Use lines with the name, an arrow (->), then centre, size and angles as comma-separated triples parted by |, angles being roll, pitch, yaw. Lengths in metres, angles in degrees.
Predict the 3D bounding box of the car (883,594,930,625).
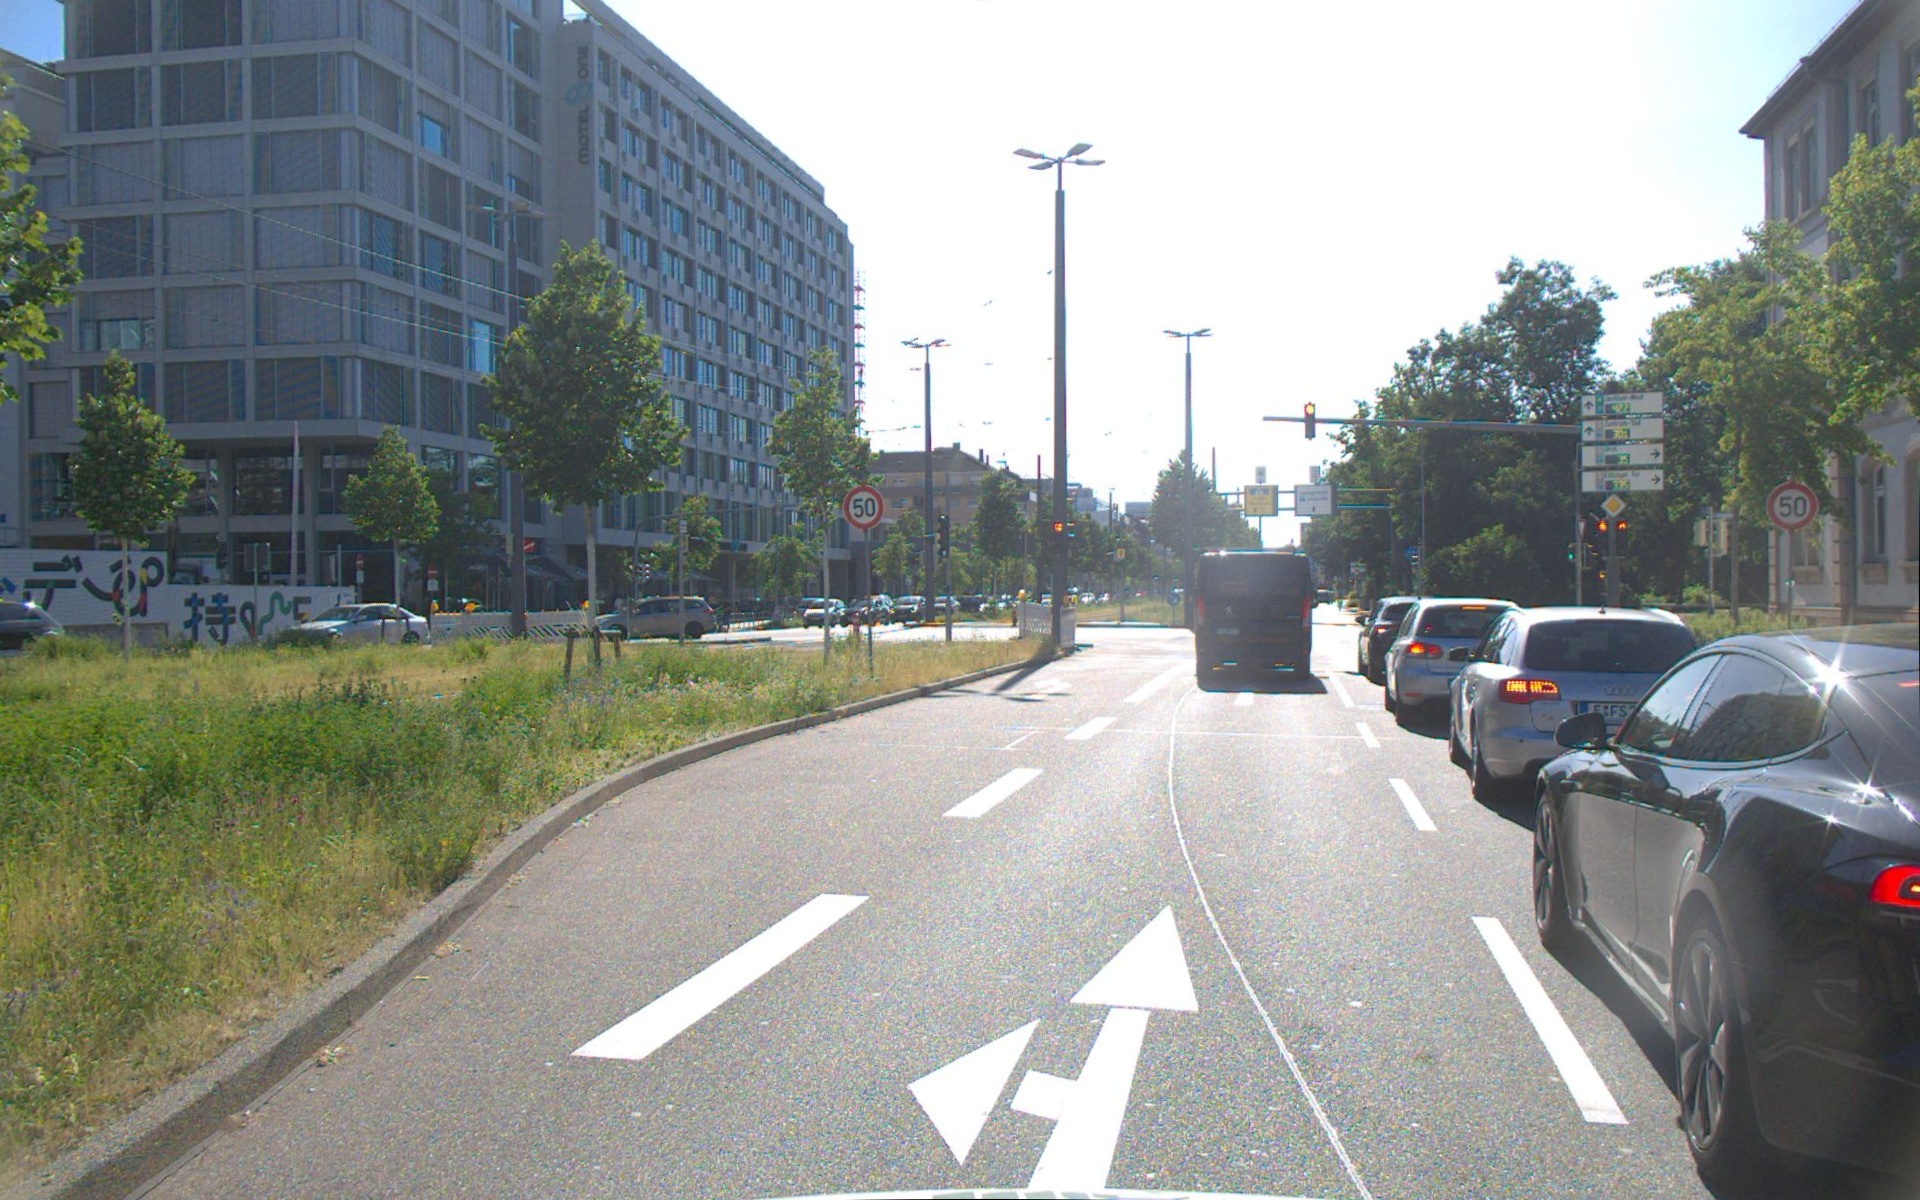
car -> -2.994, 0.517, 93.185 | 1.752, 1.680, 4.003 | -1, 0, 12

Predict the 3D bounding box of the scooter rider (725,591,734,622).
scooter rider -> -11.286, 0.320, 80.994 | 0.335, 1.478, 0.239 | -1, 0, 12

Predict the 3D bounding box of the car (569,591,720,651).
car -> -10.255, 0.649, 53.807 | 4.464, 1.824, 1.980 | -1, 0, -30

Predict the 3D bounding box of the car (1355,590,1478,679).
car -> 8.115, 0.570, 29.679 | 1.753, 1.453, 3.853 | 1, 0, 10

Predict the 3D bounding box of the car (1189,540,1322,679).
car -> 5.404, 0.123, 30.239 | 2.170, 2.307, 4.488 | 1, 1, 10

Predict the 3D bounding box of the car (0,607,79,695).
car -> -21.260, 1.100, 34.898 | 1.953, 1.824, 4.526 | 0, 0, 22

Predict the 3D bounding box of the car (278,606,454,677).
car -> -16.446, 1.100, 46.032 | 1.955, 1.824, 4.521 | 0, 0, 27

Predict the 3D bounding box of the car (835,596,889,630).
car -> -5.021, 0.668, 85.313 | 1.752, 1.680, 4.003 | -1, 0, 12

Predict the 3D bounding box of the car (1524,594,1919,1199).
car -> 3.181, 0.750, 5.272 | 2.007, 1.469, 4.528 | 1, 1, 11

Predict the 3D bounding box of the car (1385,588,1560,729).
car -> 6.284, 0.639, 20.630 | 1.712, 1.554, 4.008 | 1, 1, 12

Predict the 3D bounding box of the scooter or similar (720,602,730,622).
scooter or similar -> -11.502, 0.588, 80.993 | 0.223, 0.964, 0.768 | -1, 0, 12

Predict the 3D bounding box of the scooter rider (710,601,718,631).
scooter rider -> -12.098, 0.803, 81.372 | 0.335, 1.478, 0.239 | -1, 0, 12

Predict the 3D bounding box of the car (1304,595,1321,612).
car -> 40.324, 0.352, 189.254 | 1.753, 1.906, 3.853 | 1, 0, 10

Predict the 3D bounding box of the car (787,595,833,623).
car -> -9.312, 0.571, 102.873 | 1.752, 1.680, 4.003 | -1, 0, 12

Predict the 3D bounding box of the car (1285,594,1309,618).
car -> 27.434, 0.460, 134.616 | 1.753, 1.906, 3.853 | 1, 0, 10

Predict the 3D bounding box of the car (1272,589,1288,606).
car -> 37.634, -0.320, 194.788 | 1.753, 1.906, 3.853 | 1, 0, 10

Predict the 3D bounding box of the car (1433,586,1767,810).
car -> 4.949, 0.624, 13.446 | 1.710, 1.452, 4.842 | 1, 1, 11

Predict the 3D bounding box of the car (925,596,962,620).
car -> -1.166, 0.567, 117.185 | 1.752, 1.680, 4.003 | -1, 0, 12

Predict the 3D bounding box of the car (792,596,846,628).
car -> -7.512, 0.630, 88.278 | 1.752, 1.680, 4.003 | -1, 0, 12

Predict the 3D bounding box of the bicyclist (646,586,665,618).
bicyclist -> -15.278, 0.104, 83.088 | 0.581, 1.608, 0.893 | 1, 0, 15

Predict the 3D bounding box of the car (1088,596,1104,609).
car -> 18.582, 0.369, 225.686 | 1.752, 1.680, 4.003 | -1, 0, 12
